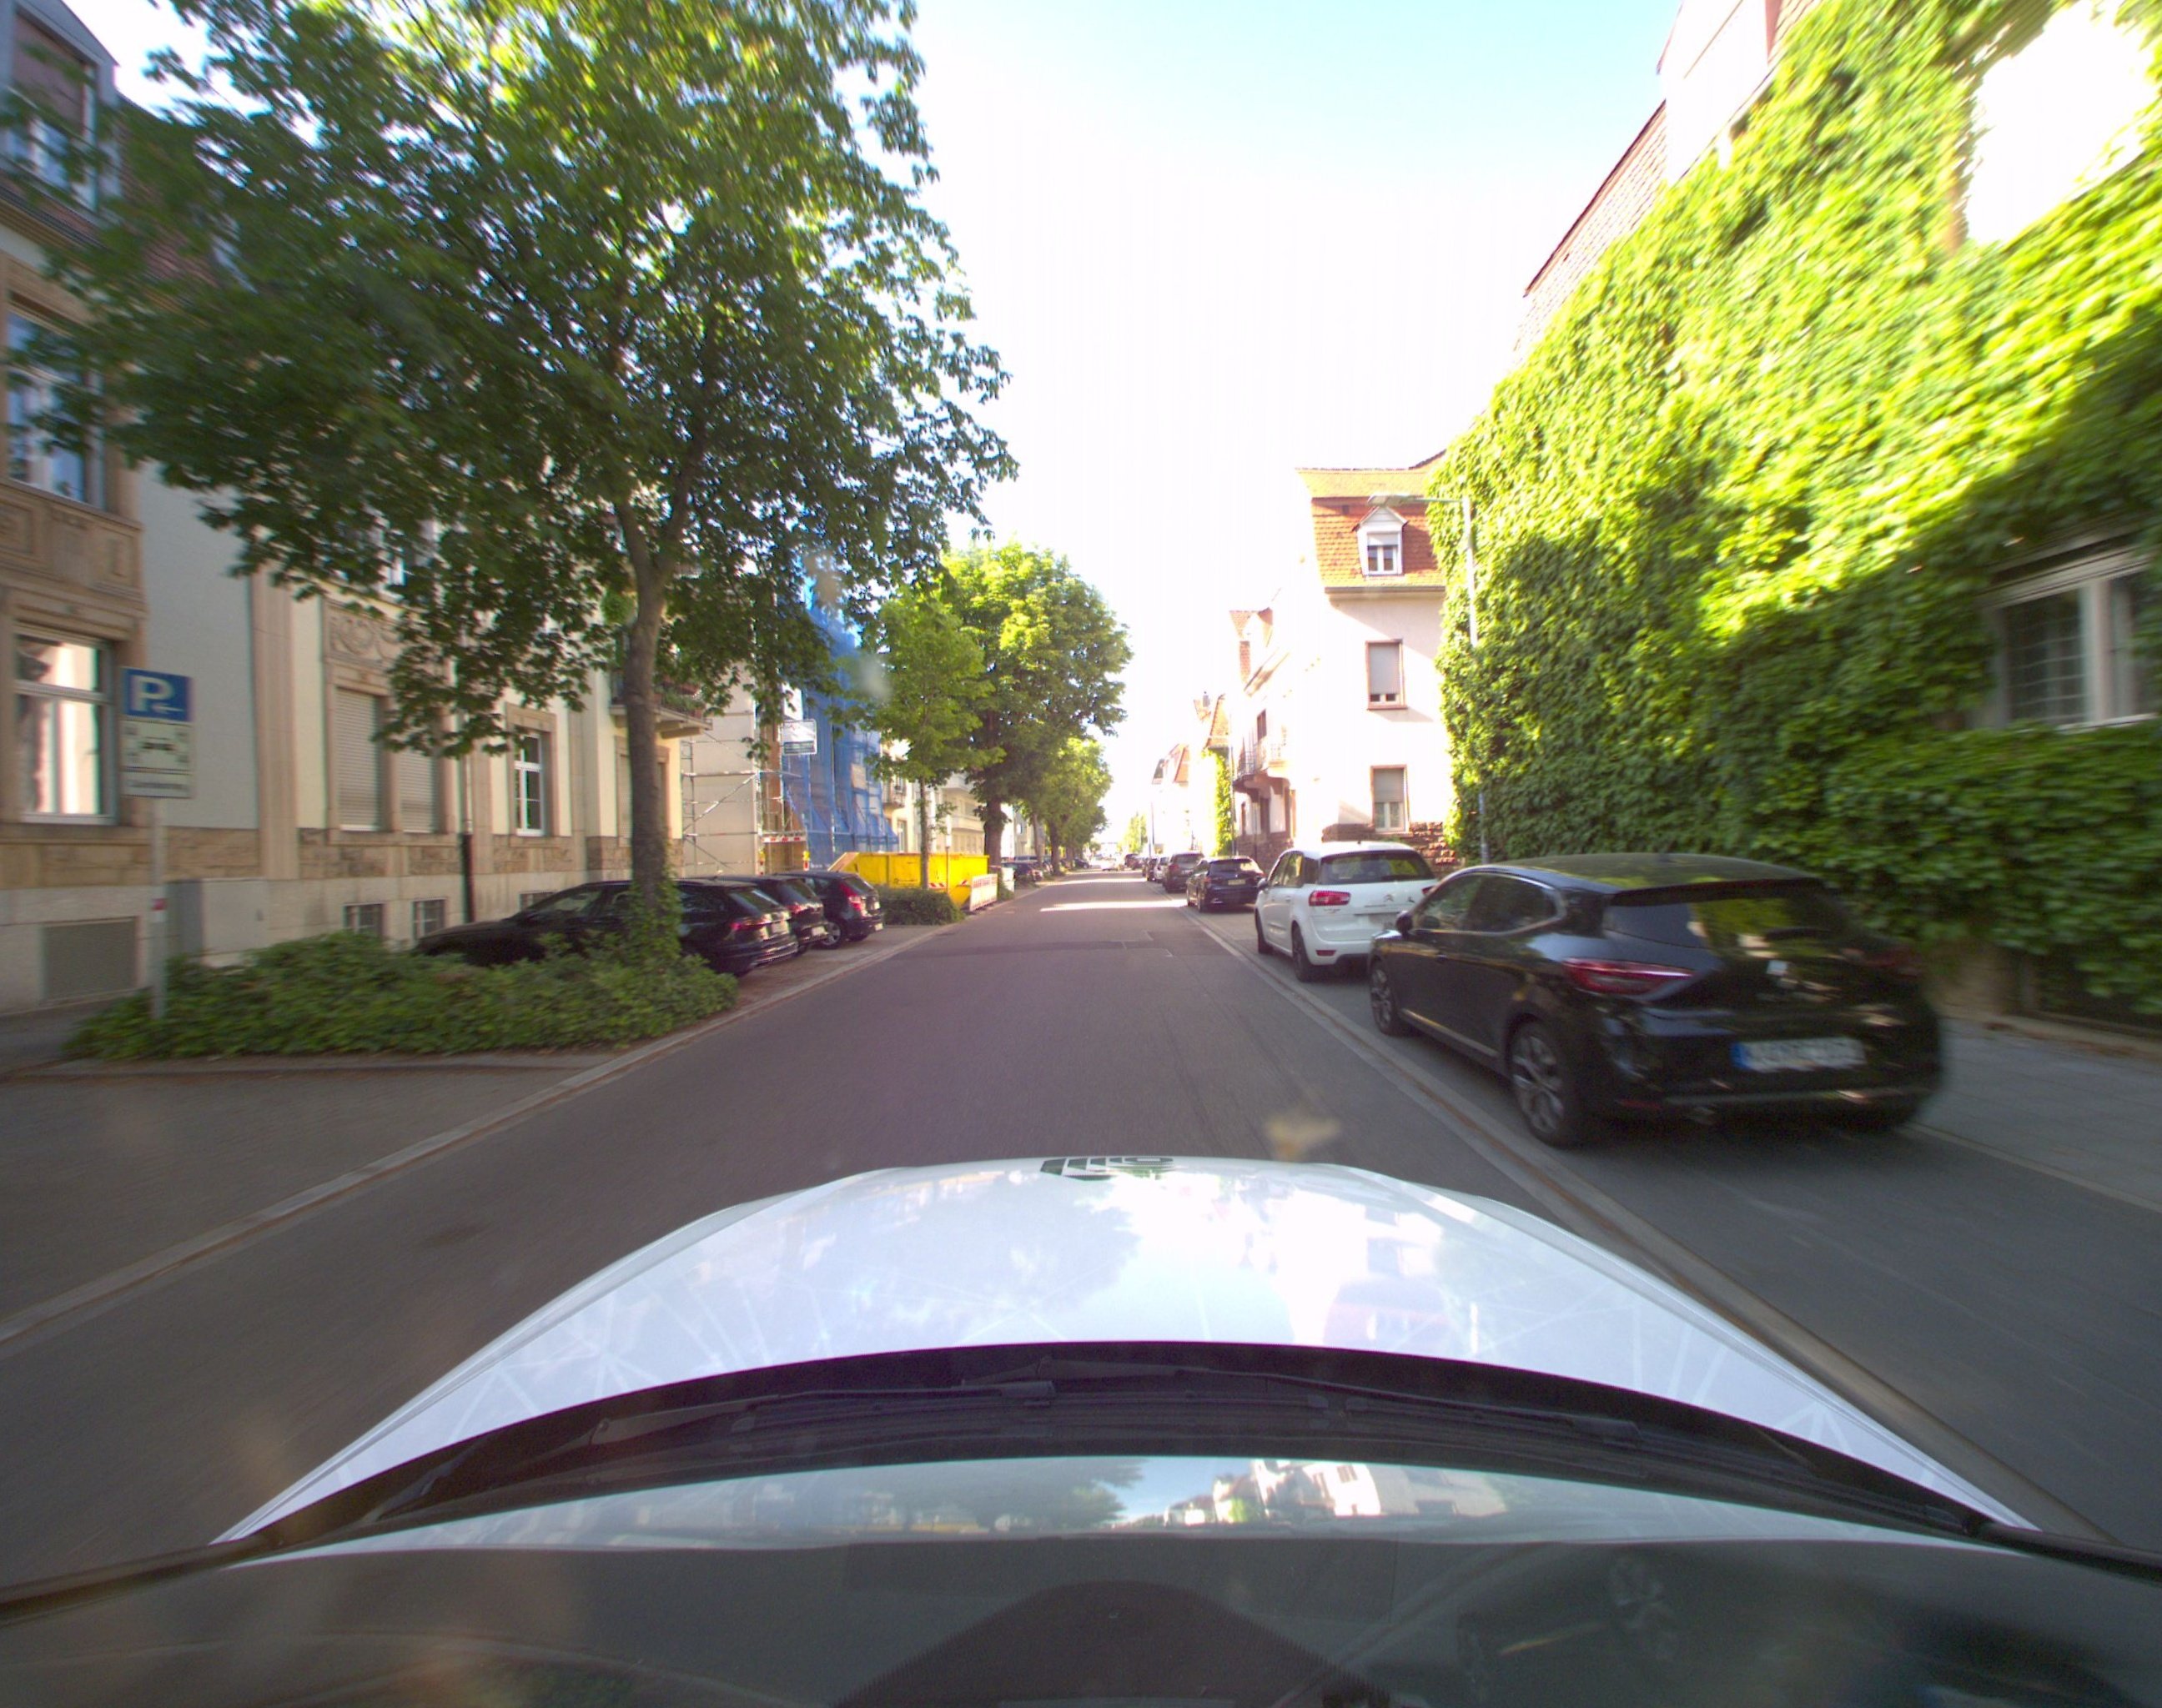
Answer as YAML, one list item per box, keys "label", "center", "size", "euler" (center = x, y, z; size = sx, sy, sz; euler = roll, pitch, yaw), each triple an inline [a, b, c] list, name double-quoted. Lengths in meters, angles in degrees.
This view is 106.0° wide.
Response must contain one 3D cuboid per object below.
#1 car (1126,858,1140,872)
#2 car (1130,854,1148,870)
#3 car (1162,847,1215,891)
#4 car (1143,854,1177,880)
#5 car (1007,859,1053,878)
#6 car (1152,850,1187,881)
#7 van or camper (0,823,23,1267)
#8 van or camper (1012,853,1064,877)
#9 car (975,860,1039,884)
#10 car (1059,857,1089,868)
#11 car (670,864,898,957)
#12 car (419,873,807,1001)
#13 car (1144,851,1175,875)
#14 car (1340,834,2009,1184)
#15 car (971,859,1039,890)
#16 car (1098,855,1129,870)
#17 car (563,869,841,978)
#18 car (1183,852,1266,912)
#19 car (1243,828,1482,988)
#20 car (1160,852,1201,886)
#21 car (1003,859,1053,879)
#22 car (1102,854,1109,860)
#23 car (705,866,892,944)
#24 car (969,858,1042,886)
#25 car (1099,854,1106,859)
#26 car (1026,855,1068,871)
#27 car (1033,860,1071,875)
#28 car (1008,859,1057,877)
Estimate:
- label: "car"
  center: [7.530, 1.537, 117.185]
  size: [1.863, 1.905, 5.201]
  euler: [-4, -1, 3]
- label: "car"
  center: [6.233, 0.848, 87.810]
  size: [1.614, 1.439, 3.935]
  euler: [-5, 0, 0]
- label: "car"
  center: [4.366, 0.630, 33.645]
  size: [1.771, 1.696, 4.323]
  euler: [-1, -1, 2]
- label: "car"
  center: [4.767, 0.797, 49.807]
  size: [1.703, 1.436, 4.194]
  euler: [-5, -1, 2]
- label: "car"
  center: [-4.047, 1.171, 65.270]
  size: [3.464, 1.458, 1.799]
  euler: [-1, -1, 3]
- label: "car"
  center: [4.906, 0.643, 45.487]
  size: [1.569, 1.549, 3.470]
  euler: [-4, -1, 2]
- label: "van or camper"
  center: [-6.332, 0.851, 2.423]
  size: [3.930, 1.773, 1.810]
  euler: [-2, 1, 1]
- label: "van or camper"
  center: [-3.840, 1.001, 73.256]
  size: [4.480, 1.914, 1.965]
  euler: [-2, 0, 1]
- label: "car"
  center: [-5.014, 1.217, 55.520]
  size: [4.173, 1.441, 1.713]
  euler: [-2, 0, 0]
- label: "car"
  center: [-0.945, 1.179, 115.015]
  size: [4.170, 1.448, 1.714]
  euler: [-1, -1, 3]
- label: "car"
  center: [-5.714, 1.059, 15.962]
  size: [3.711, 1.464, 1.716]
  euler: [-4, 1, 2]
- label: "car"
  center: [-6.029, 1.042, 10.833]
  size: [4.124, 1.401, 1.711]
  euler: [-2, 0, 1]
- label: "car"
  center: [5.426, 0.649, 56.709]
  size: [1.785, 1.520, 4.368]
  euler: [-4, -1, 2]
- label: "car"
  center: [3.185, 0.669, 5.510]
  size: [1.631, 1.421, 4.010]
  euler: [-3, 0, 2]
- label: "car"
  center: [-4.538, 1.200, 48.496]
  size: [3.867, 1.514, 1.828]
  euler: [-4, 0, -7]
- label: "car"
  center: [3.413, 0.847, 84.640]
  size: [1.710, 1.420, 3.984]
  euler: [-2, 0, 27]
- label: "car"
  center: [-6.129, 1.095, 13.464]
  size: [3.733, 1.431, 1.647]
  euler: [-4, 0, 2]
- label: "car"
  center: [3.846, 0.699, 22.527]
  size: [1.637, 1.454, 4.506]
  euler: [-2, 0, 2]
- label: "car"
  center: [3.484, 0.589, 10.983]
  size: [1.860, 1.644, 4.202]
  euler: [-3, 0, 2]
- label: "car"
  center: [4.721, 0.708, 38.923]
  size: [1.619, 1.549, 2.870]
  euler: [-2, -1, 2]
- label: "car"
  center: [-4.107, 1.156, 62.908]
  size: [3.628, 1.463, 1.712]
  euler: [-1, -1, 3]
- label: "car"
  center: [7.305, 1.007, 244.848]
  size: [1.868, 1.728, 3.996]
  euler: [-3, 0, -2]
- label: "car"
  center: [-6.321, 1.121, 18.471]
  size: [3.535, 1.448, 1.696]
  euler: [-4, 0, 2]
- label: "car"
  center: [-4.889, 1.129, 52.853]
  size: [4.585, 1.607, 1.828]
  euler: [-2, 0, -7]
- label: "car"
  center: [6.534, 0.869, 249.892]
  size: [1.783, 1.532, 3.994]
  euler: [-2, 0, -4]
- label: "car"
  center: [-3.495, 0.915, 85.078]
  size: [4.172, 1.498, 1.861]
  euler: [-3, 0, 0]
- label: "car"
  center: [-3.176, 1.461, 89.986]
  size: [3.972, 1.468, 1.697]
  euler: [-3, 0, 1]
- label: "car"
  center: [-4.011, 1.177, 67.697]
  size: [3.909, 1.414, 1.715]
  euler: [-1, 0, -1]
